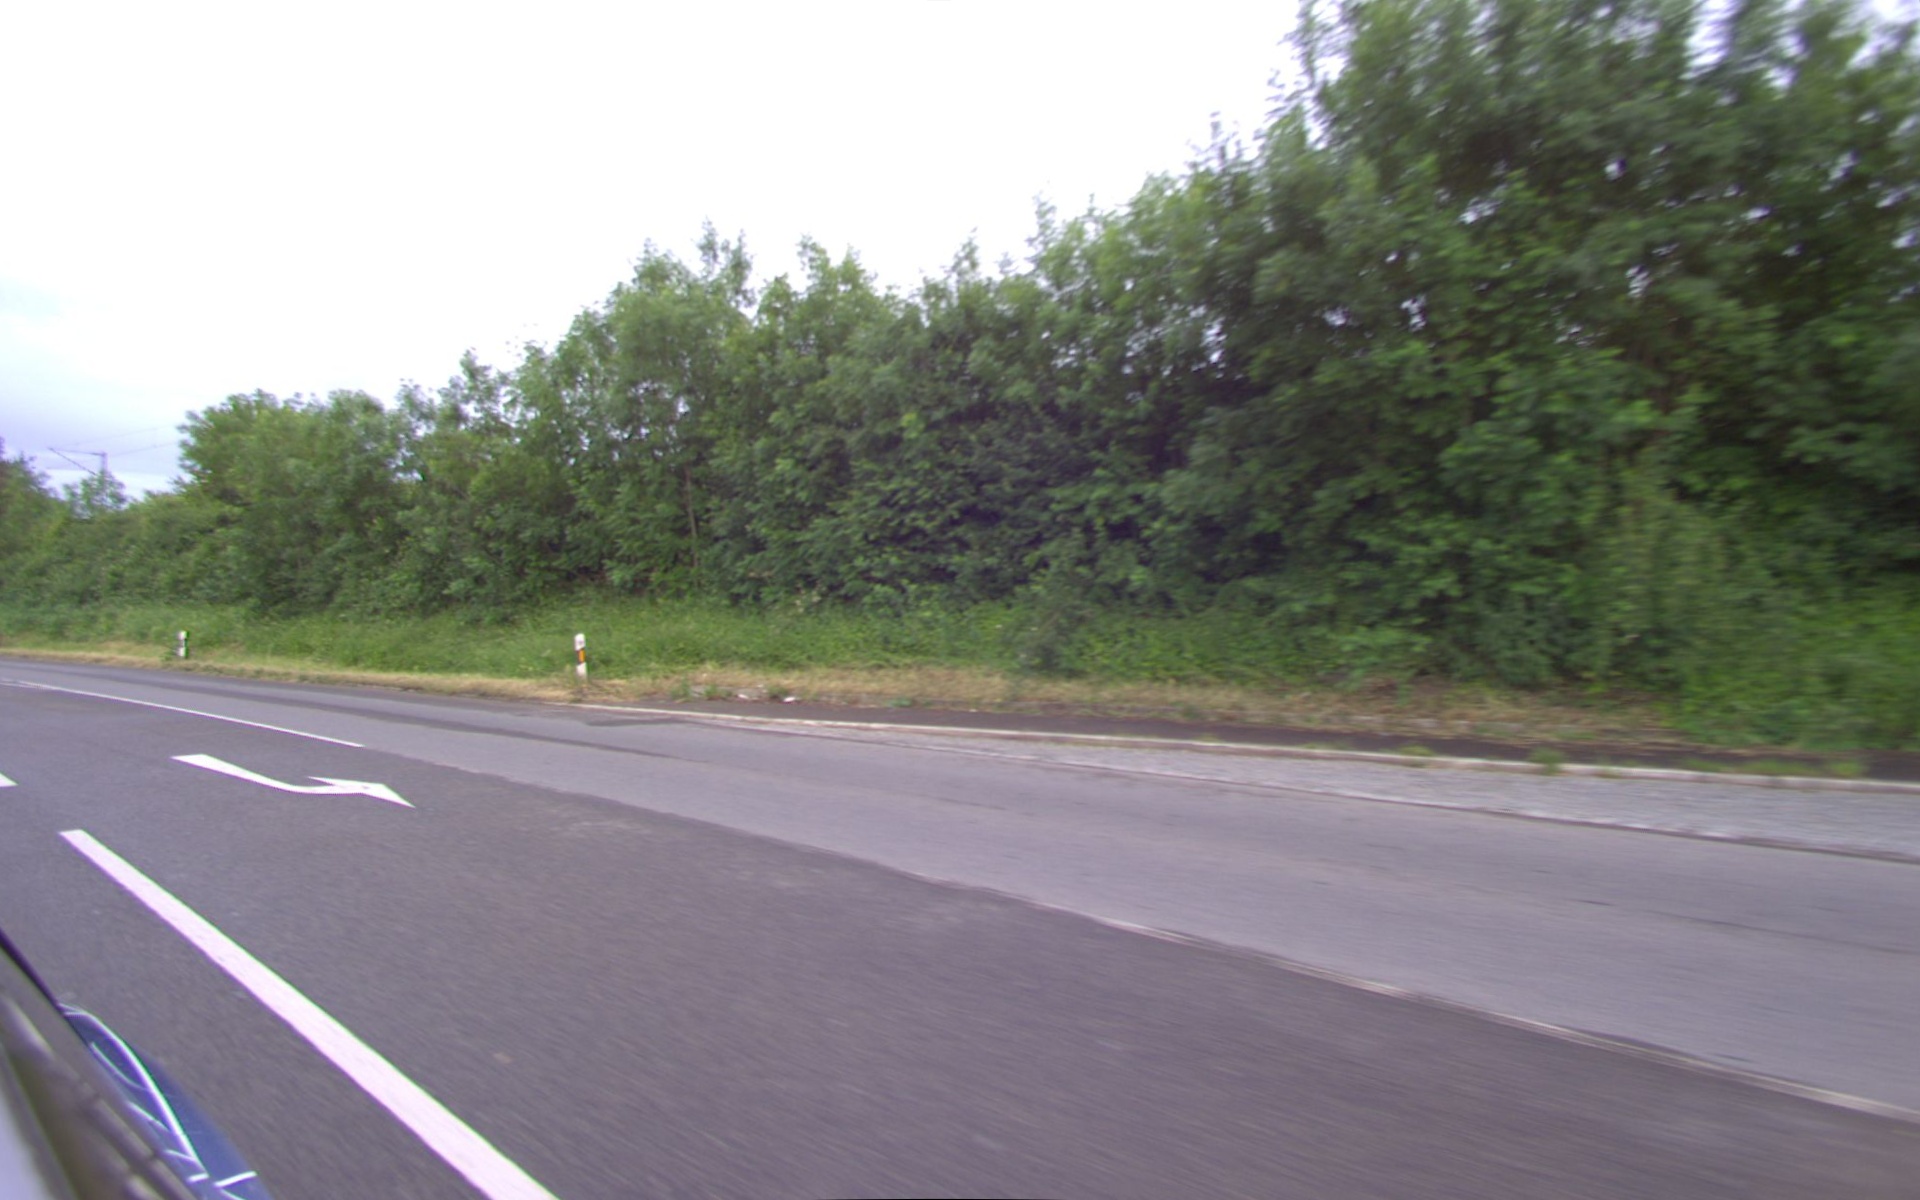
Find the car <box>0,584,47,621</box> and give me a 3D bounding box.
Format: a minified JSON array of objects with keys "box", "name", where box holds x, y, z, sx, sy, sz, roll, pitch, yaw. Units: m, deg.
[{"box":[-43.458,0.145,45.576,3.795,1.587,1.838,-1,-1,18],"name":"car"}]
